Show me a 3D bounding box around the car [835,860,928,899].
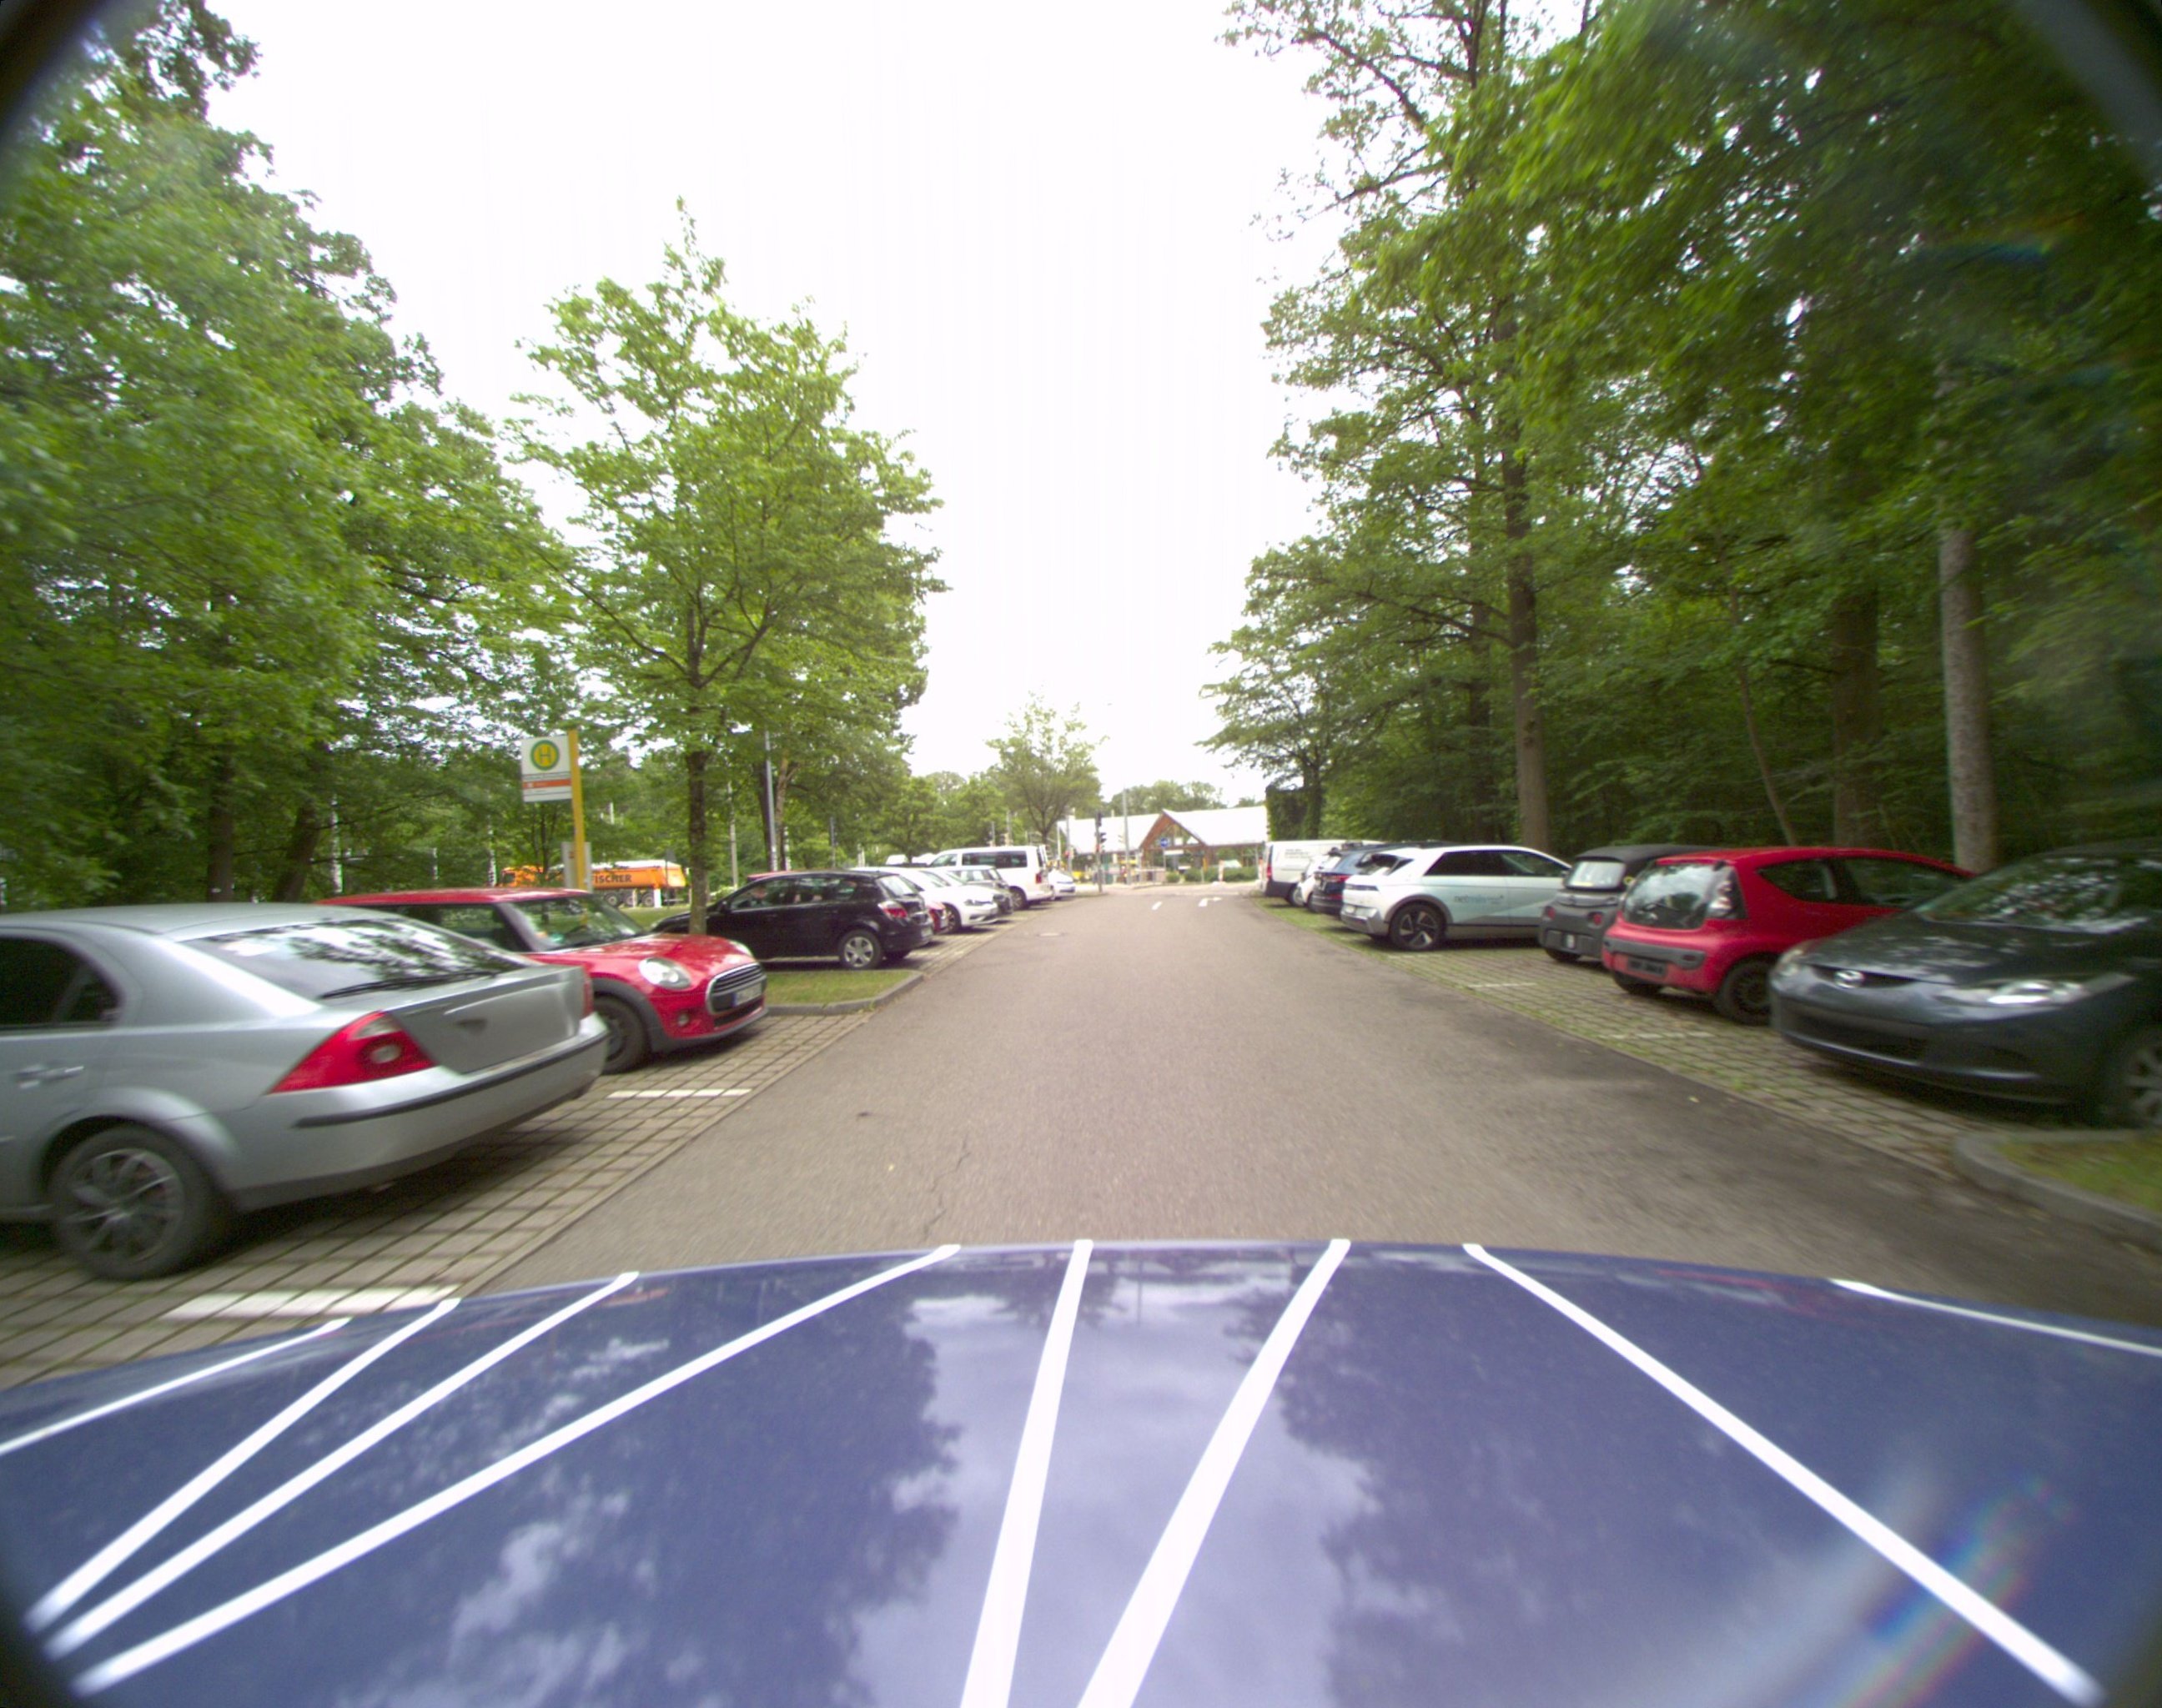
[{"bbox_3d":[-10.589,1.366,40.481,4.580,1.739,1.999,-3,-2,-14],"label":"car"}]

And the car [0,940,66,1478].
[{"bbox_3d":[-4.925,1.076,1.394,3.711,1.502,1.751,-2,1,0],"label":"car"}]

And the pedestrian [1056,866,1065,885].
[{"bbox_3d":[-1.876,1.979,70.102,0.736,1.746,0.668,-3,-2,-3],"label":"pedestrian"}]

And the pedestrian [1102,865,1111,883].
[{"bbox_3d":[2.519,1.990,75.054,0.601,1.746,0.667,-3,-2,-27],"label":"pedestrian"}]

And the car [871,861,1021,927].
[{"bbox_3d":[-3.764,1.130,21.507,3.730,1.545,1.848,-4,-2,6],"label":"car"}]

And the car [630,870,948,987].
[{"bbox_3d":[-4.246,1.064,11.483,3.995,1.474,1.923,-2,0,4],"label":"car"}]

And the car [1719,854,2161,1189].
[{"bbox_3d":[6.364,0.756,4.336,3.997,1.482,1.707,-1,0,0],"label":"car"}]

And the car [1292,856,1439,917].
[{"bbox_3d":[7.079,0.808,19.200,3.231,1.457,1.657,-1,-1,10],"label":"car"}]

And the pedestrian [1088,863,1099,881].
[{"bbox_3d":[1.233,1.825,75.817,0.732,1.746,0.738,-4,-2,22],"label":"pedestrian"}]

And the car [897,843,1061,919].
[{"bbox_3d":[-3.162,0.850,24.127,4.658,2.008,2.085,-4,-2,8],"label":"car"}]

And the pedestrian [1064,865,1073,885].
[{"bbox_3d":[-1.137,1.946,70.265,0.736,1.746,0.668,-3,-2,-5],"label":"pedestrian"}]

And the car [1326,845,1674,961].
[{"bbox_3d":[6.364,0.724,12.030,4.364,1.588,2.031,-2,1,5],"label":"car"}]

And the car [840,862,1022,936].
[{"bbox_3d":[-3.683,1.089,19.082,3.995,1.475,1.878,-4,1,6],"label":"car"}]

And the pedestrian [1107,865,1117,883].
[{"bbox_3d":[3.073,1.988,75.311,0.601,1.746,0.667,-3,-2,-27],"label":"pedestrian"}]

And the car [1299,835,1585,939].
[{"bbox_3d":[6.650,0.604,14.533,4.434,1.684,2.172,-2,0,6],"label":"car"}]

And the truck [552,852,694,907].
[{"bbox_3d":[-32.139,1.795,53.490,8.240,3.493,2.869,-2,-1,2],"label":"truck"}]

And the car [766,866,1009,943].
[{"bbox_3d":[-4.168,1.082,16.758,4.781,1.467,1.854,-2,-1,7],"label":"car"}]

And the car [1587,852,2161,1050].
[{"bbox_3d":[6.892,0.772,6.750,3.615,1.465,1.675,-2,0,4],"label":"car"}]

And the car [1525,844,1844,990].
[{"bbox_3d":[7.178,0.710,9.225,2.666,1.532,1.446,-2,0,1],"label":"car"}]

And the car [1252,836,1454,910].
[{"bbox_3d":[7.564,0.544,21.653,5.095,1.904,1.979,-2,0,9],"label":"car"}]

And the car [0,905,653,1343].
[{"bbox_3d":[-4.741,1.108,3.773,4.136,1.453,1.865,-2,1,2],"label":"car"}]

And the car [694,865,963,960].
[{"bbox_3d":[-4.536,1.037,14.079,4.238,1.472,1.920,-2,0,4],"label":"car"}]

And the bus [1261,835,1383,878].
[{"bbox_3d":[19.866,0.147,62.348,10.532,3.139,2.807,-1,-2,-27],"label":"bus"}]

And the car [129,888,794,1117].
[{"bbox_3d":[-4.830,1.115,6.449,3.997,1.441,1.941,-2,0,0],"label":"car"}]

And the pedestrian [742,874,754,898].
[{"bbox_3d":[-32.524,3.137,74.229,0.864,2.280,0.616,-2,-2,-32],"label":"pedestrian"}]

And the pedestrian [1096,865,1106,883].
[{"bbox_3d":[1.974,2.015,75.467,0.670,1.746,0.561,-2,-3,-41],"label":"pedestrian"}]

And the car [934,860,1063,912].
[{"bbox_3d":[-2.877,1.113,26.777,4.003,1.546,1.949,-4,-1,14],"label":"car"}]

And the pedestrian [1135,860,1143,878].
[{"bbox_3d":[5.589,1.439,73.302,0.656,1.746,0.668,-3,-2,-3],"label":"pedestrian"}]

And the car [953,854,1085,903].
[{"bbox_3d":[-2.341,0.919,29.203,4.527,1.683,2.167,-2,0,13],"label":"car"}]

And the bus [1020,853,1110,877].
[{"bbox_3d":[-2.247,1.709,123.667,3.969,3.461,18.617,-5,-3,36],"label":"bus"}]
